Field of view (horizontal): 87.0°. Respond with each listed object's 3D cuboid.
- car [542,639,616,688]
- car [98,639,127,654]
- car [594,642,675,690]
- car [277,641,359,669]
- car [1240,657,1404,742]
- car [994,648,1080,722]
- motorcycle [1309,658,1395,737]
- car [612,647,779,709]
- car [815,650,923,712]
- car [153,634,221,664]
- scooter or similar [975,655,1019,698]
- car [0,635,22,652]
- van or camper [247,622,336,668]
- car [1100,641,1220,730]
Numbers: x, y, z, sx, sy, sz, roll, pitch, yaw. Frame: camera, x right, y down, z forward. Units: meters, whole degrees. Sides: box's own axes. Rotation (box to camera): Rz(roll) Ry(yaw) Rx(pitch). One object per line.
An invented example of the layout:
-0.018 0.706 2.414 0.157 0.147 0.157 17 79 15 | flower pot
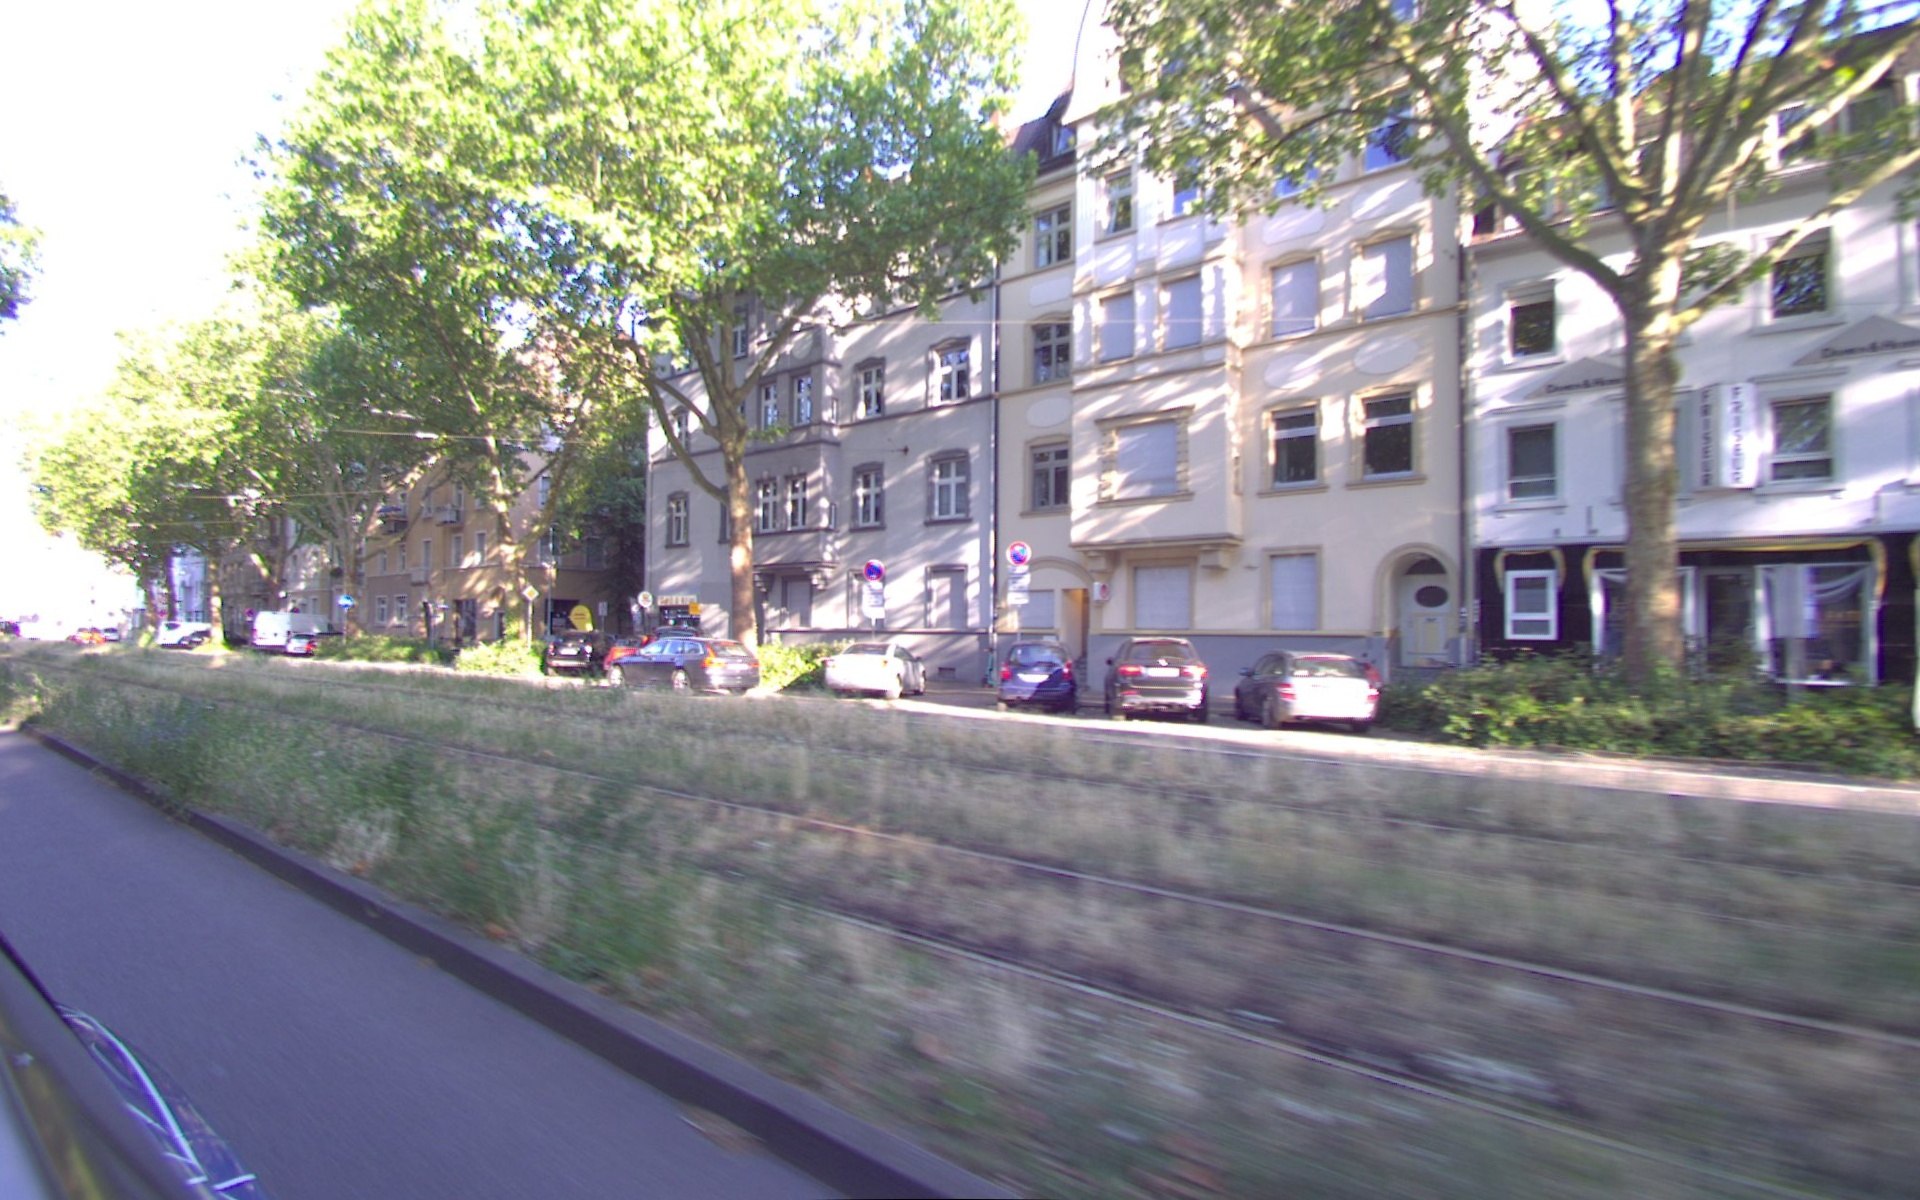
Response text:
-13.715 2.283 36.643 1.703 1.666 4.007 0 -3 -8 | car
-90.924 4.971 108.592 4.001 1.431 1.971 -1 -1 44 | car
-11.158 2.247 34.964 1.635 1.566 4.001 0 -3 -2 | car
-35.822 3.056 56.586 1.710 1.256 3.991 -1 0 7 | car
6.428 1.732 18.461 1.779 1.368 4.000 0 -3 4 | car
1.798 1.923 23.286 1.803 1.545 3.992 0 -4 6 | car
8.425 2.053 21.914 0.861 1.492 3.125 -1 -2 5 | motorcycle
-6.677 1.917 25.343 4.481 1.400 1.801 -2 -5 41 | car
-2.214 1.979 25.537 1.806 1.400 3.668 0 -2 11 | car
-56.828 3.543 74.493 1.971 2.029 4.001 -1 -1 -1 | car
1.139 2.339 31.114 1.353 1.260 0.470 -2 -4 41 | scooter or similar
-88.733 4.065 94.124 1.969 1.497 4.006 0 -1 -40 | car
-38.102 2.513 57.845 2.171 2.418 4.362 -1 0 1 | van or camper
3.944 1.721 20.615 1.912 1.605 4.154 0 -4 5 | car
